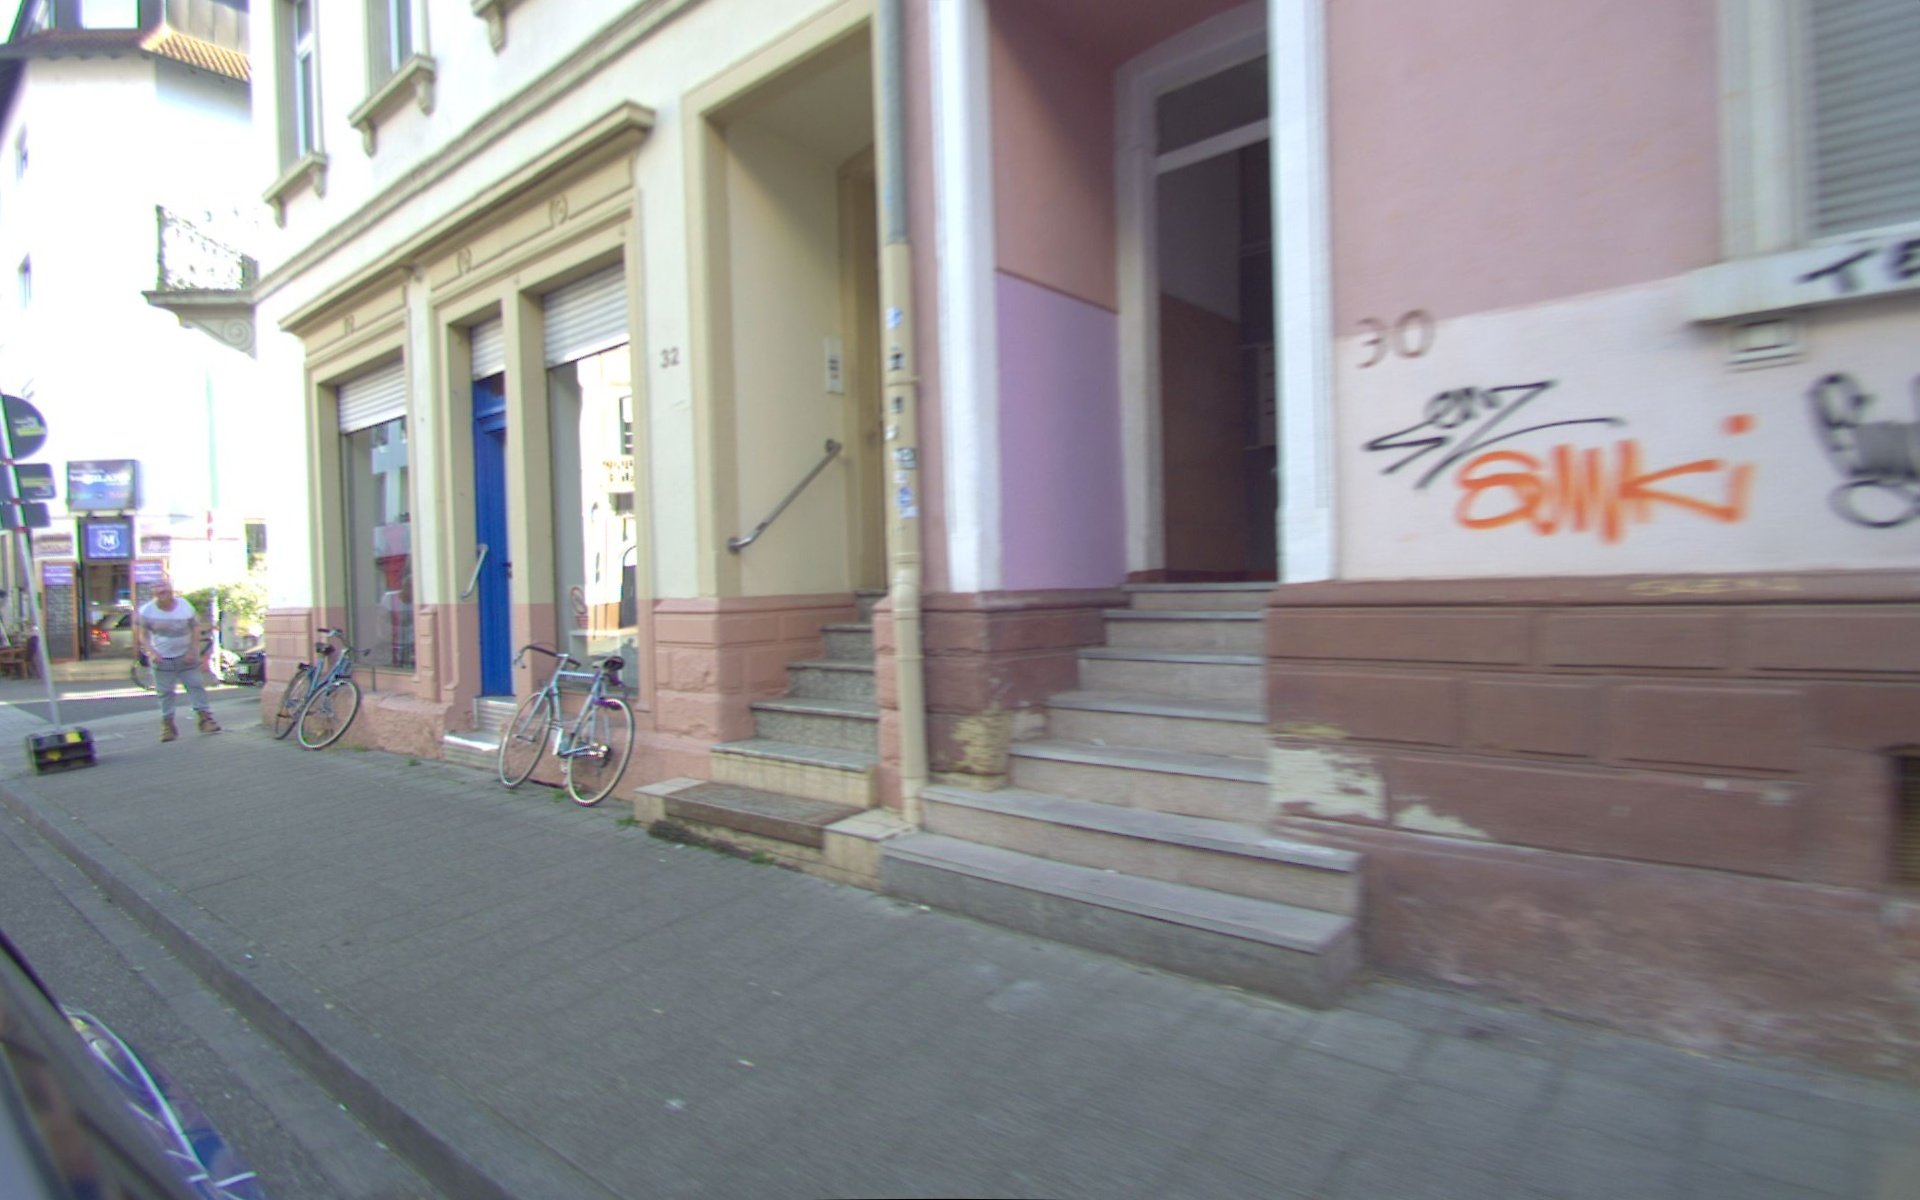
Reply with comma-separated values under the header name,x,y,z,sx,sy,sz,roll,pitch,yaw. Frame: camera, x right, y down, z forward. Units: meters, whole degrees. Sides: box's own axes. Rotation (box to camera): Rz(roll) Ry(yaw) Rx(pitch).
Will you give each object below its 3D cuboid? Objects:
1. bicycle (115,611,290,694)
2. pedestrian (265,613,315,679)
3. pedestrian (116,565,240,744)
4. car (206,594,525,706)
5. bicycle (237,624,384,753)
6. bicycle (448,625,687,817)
name,x,y,z,sx,sy,sz,roll,pitch,yaw
bicycle,-14.054,0.935,18.846,0.928,1.369,2.450,-1,1,41
pedestrian,-13.612,0.918,20.554,0.660,1.275,0.678,0,2,44
pedestrian,-8.085,0.554,10.462,0.864,1.713,0.687,-4,3,41
car,-9.517,0.714,16.477,1.757,1.466,4.100,-1,1,38
bicycle,-6.071,0.778,9.416,1.817,1.029,0.597,-2,4,42
bicycle,-2.549,0.695,6.462,1.817,1.030,0.616,-1,2,41
